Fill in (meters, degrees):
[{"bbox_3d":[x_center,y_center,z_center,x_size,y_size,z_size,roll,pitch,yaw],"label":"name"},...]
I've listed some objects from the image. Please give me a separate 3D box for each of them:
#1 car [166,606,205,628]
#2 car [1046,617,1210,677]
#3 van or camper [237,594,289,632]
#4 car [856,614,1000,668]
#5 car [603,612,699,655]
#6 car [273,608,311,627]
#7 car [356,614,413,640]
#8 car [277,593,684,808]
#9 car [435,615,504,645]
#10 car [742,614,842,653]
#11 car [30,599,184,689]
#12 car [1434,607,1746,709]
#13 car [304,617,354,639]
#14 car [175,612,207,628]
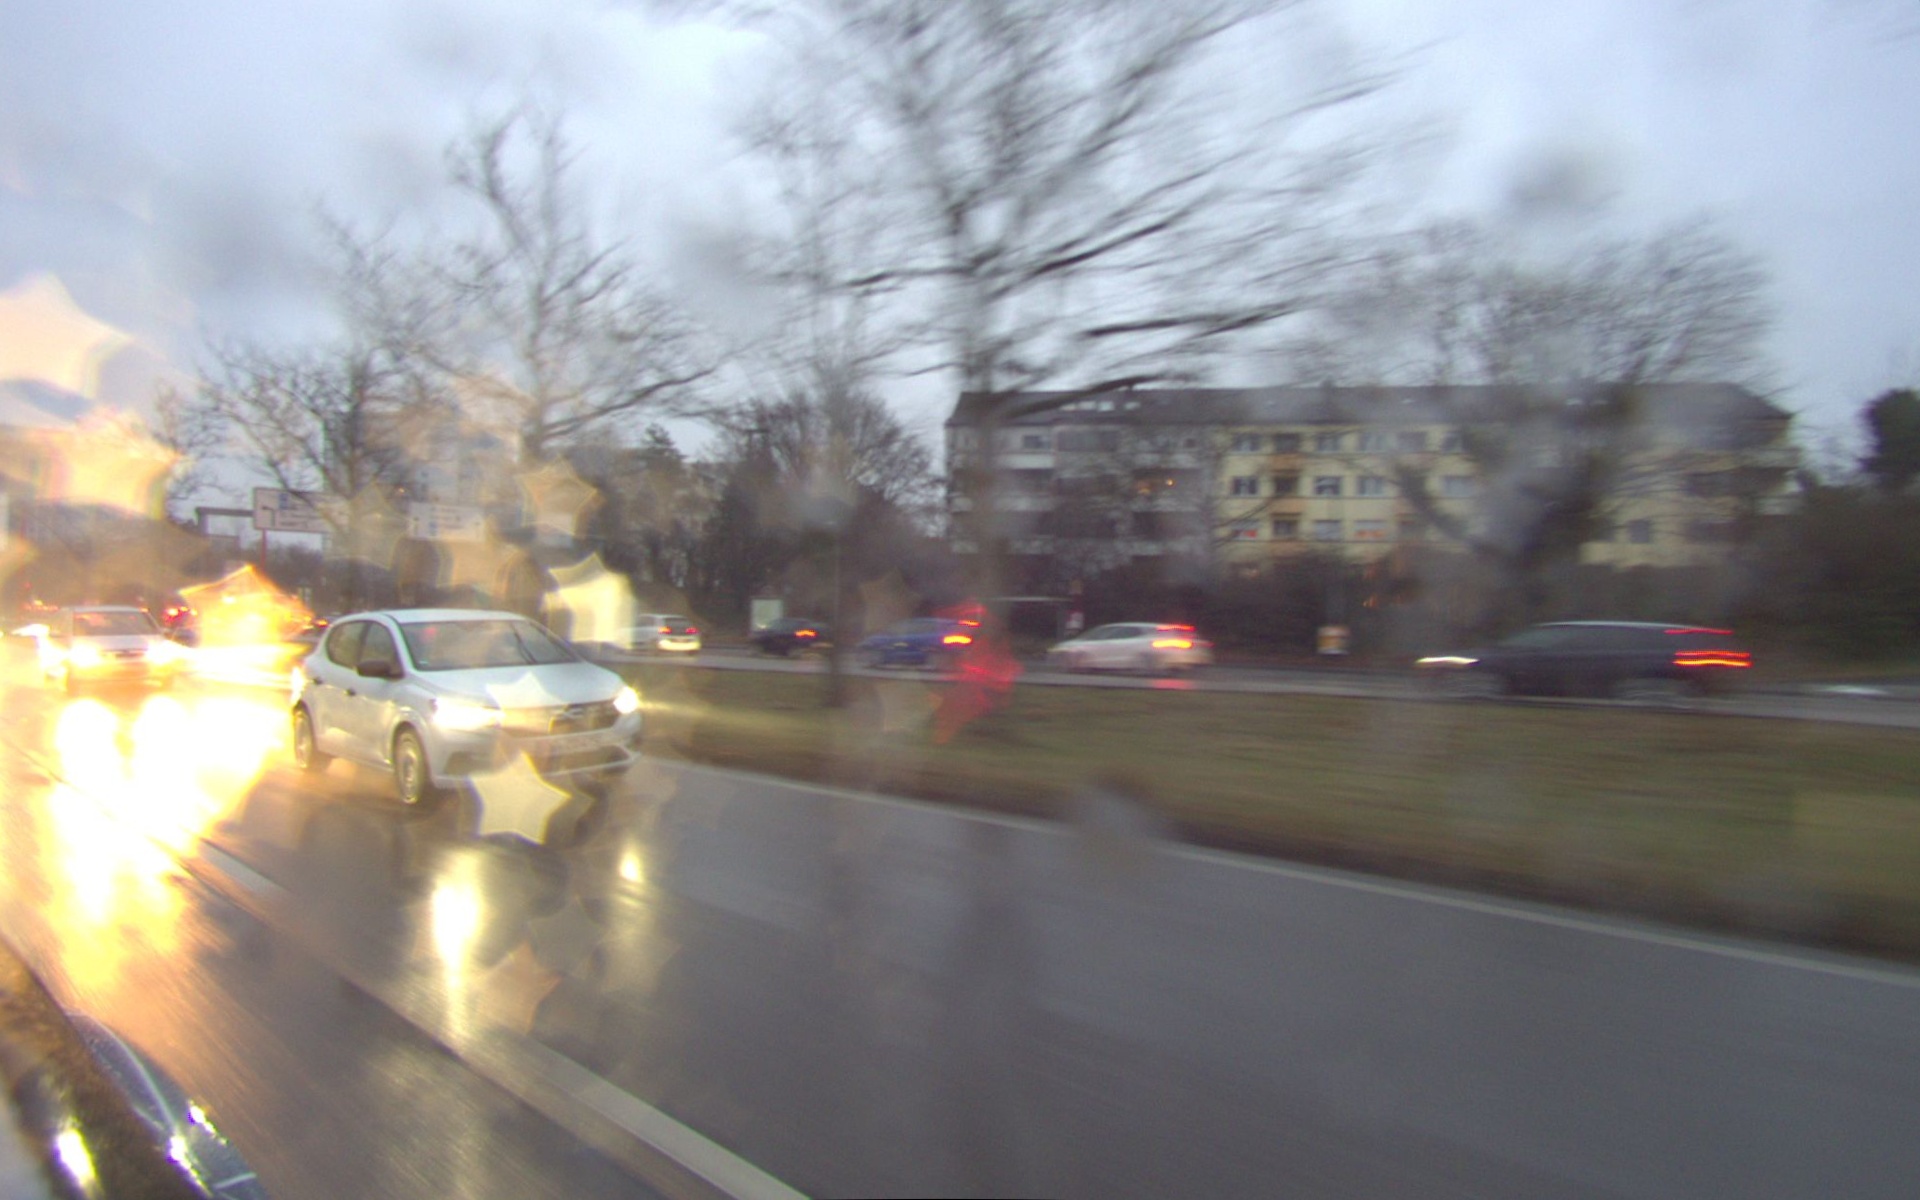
[{"bbox_3d":[-56.654,1.220,74.012,3.998,1.514,1.553,0,0,41],"label":"car"},{"bbox_3d":[4.589,1.243,28.014,4.270,1.500,1.700,0,-1,41],"label":"car"},{"bbox_3d":[-49.021,0.916,71.132,4.737,2.629,1.942,0,-1,42],"label":"van or camper"},{"bbox_3d":[-0.941,1.089,27.952,3.955,1.364,1.631,0,-1,41],"label":"car"},{"bbox_3d":[-11.567,1.216,37.795,3.955,1.511,1.631,0,-1,42],"label":"car"},{"bbox_3d":[-51.274,1.304,77.678,4.000,1.415,1.553,0,0,43],"label":"car"},{"bbox_3d":[-31.418,1.441,55.189,3.999,1.321,1.521,0,-1,42],"label":"car"},{"bbox_3d":[-4.360,0.701,8.888,4.224,1.451,1.706,0,-1,41],"label":"car"},{"bbox_3d":[-23.133,1.377,47.690,3.955,1.338,1.521,0,-1,42],"label":"car"},{"bbox_3d":[-6.276,1.210,37.598,3.701,1.364,1.633,0,-1,39],"label":"car"},{"bbox_3d":[-17.093,0.811,20.210,4.163,1.611,1.743,0,-1,41],"label":"car"},{"bbox_3d":[10.805,0.906,17.547,4.376,1.545,1.765,0,-1,41],"label":"car"},{"bbox_3d":[-39.075,1.691,62.655,3.999,1.302,1.521,0,-1,42],"label":"car"},{"bbox_3d":[-64.526,1.640,84.905,3.999,1.283,1.410,0,-1,42],"label":"car"}]
